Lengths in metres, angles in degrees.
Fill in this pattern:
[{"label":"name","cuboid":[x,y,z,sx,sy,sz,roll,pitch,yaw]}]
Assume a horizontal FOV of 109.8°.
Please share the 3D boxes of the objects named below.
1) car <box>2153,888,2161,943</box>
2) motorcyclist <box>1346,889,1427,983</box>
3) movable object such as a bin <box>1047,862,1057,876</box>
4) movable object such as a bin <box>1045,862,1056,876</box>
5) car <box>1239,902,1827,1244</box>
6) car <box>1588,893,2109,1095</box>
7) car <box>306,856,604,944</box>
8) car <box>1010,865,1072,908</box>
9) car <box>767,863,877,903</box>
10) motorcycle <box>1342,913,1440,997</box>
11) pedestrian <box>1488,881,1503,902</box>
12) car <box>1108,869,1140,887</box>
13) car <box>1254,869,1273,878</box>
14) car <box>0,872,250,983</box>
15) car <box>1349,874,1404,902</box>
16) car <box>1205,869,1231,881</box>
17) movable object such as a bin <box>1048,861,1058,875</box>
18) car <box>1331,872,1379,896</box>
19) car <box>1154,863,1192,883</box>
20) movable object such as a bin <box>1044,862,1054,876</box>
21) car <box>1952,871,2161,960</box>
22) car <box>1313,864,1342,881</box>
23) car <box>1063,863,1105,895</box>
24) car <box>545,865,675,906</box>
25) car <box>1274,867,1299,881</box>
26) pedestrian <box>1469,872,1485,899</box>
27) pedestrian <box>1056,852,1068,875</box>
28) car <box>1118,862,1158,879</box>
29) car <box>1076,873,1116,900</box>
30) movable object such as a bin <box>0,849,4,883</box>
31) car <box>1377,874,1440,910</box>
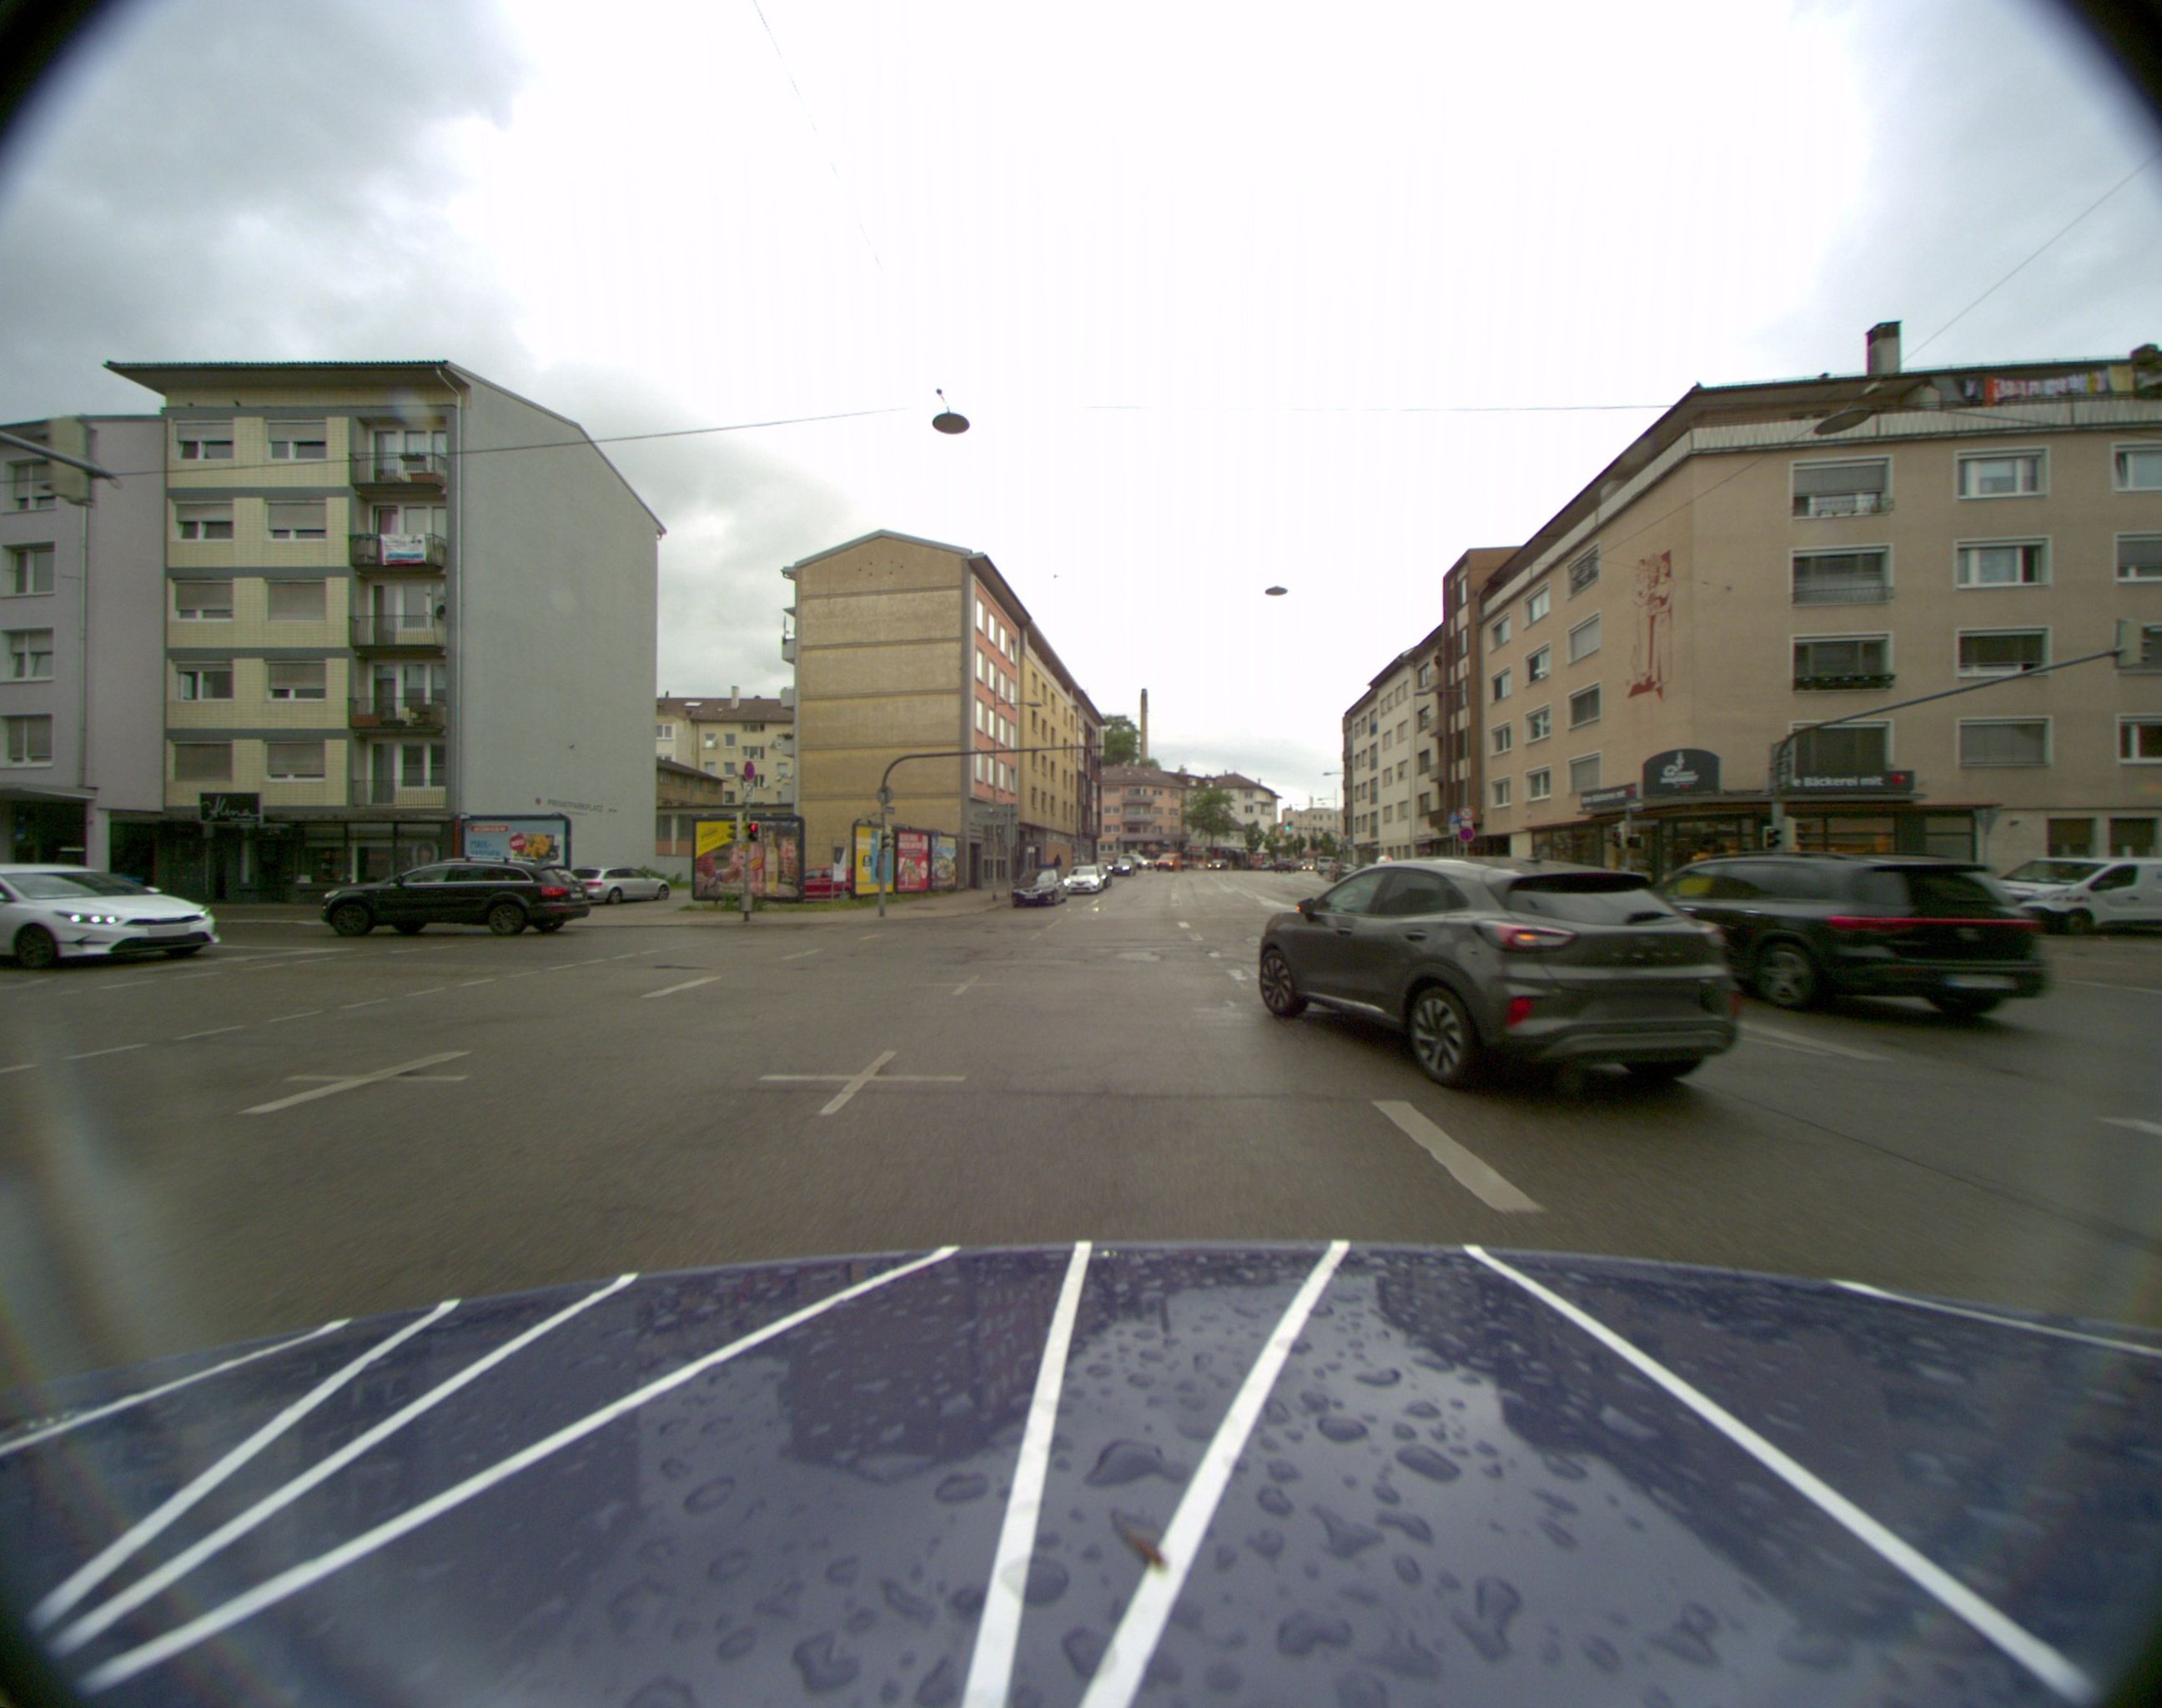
[{"label":"car","cuboid":[32.320,1.749,20.359,4.337,1.546,2.045,0,2,-2]},{"label":"motorcyclist","cuboid":[5.097,1.339,12.734,0.917,1.484,0.864,-2,-2,-5]},{"label":"movable object such as a bin","cuboid":[-2.288,1.180,59.920,0.682,1.070,0.669,0,1,7]},{"label":"movable object such as a bin","cuboid":[-2.376,1.164,59.240,0.682,1.070,0.669,0,1,7]},{"label":"car","cuboid":[2.954,1.292,6.230,1.862,1.544,4.223,0,0,-9]},{"label":"car","cuboid":[8.173,1.333,8.855,1.825,1.630,4.375,0,-1,4]},{"label":"car","cuboid":[-14.163,1.016,17.530,4.900,1.858,2.026,0,-1,-10]},{"label":"car","cuboid":[-1.577,1.267,31.221,1.787,1.488,4.058,-2,1,7]},{"label":"car","cuboid":[-10.234,1.132,30.257,3.662,1.542,2.088,0,-1,0]},{"label":"motorcycle","cuboid":[5.105,1.629,12.682,0.589,1.183,2.102,-1,-2,-5]},{"label":"pedestrian","cuboid":[23.117,2.099,42.356,0.672,1.141,0.596,0,1,35]},{"label":"car","cuboid":[3.759,2.074,65.377,1.809,1.331,4.283,1,1,16]},{"label":"car","cuboid":[27.926,2.999,116.388,1.810,1.334,4.008,-2,-1,28]},{"label":"car","cuboid":[-16.110,1.054,11.744,4.660,1.477,1.921,0,0,4]},{"label":"car","cuboid":[18.353,2.081,47.448,1.998,1.468,4.520,1,0,5]},{"label":"car","cuboid":[17.760,2.678,98.641,1.839,1.433,4.008,-2,-1,34]},{"label":"movable object such as a bin","cuboid":[-2.204,1.133,60.612,0.682,1.070,0.669,0,1,7]},{"label":"car","cuboid":[19.007,2.049,52.959,1.886,1.468,4.981,1,0,5]},{"label":"car","cuboid":[10.264,2.020,84.141,2.194,2.073,5.945,-1,0,28]},{"label":"movable object such as a bin","cuboid":[-2.480,1.177,58.546,0.682,1.070,0.669,0,1,7]},{"label":"car","cuboid":[26.488,1.547,19.851,4.862,2.091,2.046,0,2,2]},{"label":"car","cuboid":[31.642,2.347,97.402,2.120,2.003,5.138,-2,0,33]},{"label":"car","cuboid":[0.211,1.275,39.550,1.679,1.395,4.001,-1,2,7]},{"label":"car","cuboid":[-17.691,1.137,28.818,1.878,1.431,4.334,0,-1,6]},{"label":"car","cuboid":[24.367,2.349,90.027,1.863,1.637,4.262,1,0,29]},{"label":"pedestrian","cuboid":[23.119,1.845,44.376,0.544,1.573,0.669,-1,1,-6]},{"label":"pedestrian","cuboid":[-1.490,0.731,59.815,0.674,1.777,1.096,-1,0,10]},{"label":"car","cuboid":[6.749,1.951,90.168,2.004,1.711,4.784,1,1,-37]},{"label":"car","cuboid":[1.018,1.985,47.443,2.038,1.379,5.295,1,1,6]},{"label":"movable object such as a bin","cuboid":[-35.817,0.394,24.691,0.640,1.131,0.698,-2,-1,6]},{"label":"car","cuboid":[16.865,1.922,39.386,1.911,1.545,4.634,1,0,9]}]
